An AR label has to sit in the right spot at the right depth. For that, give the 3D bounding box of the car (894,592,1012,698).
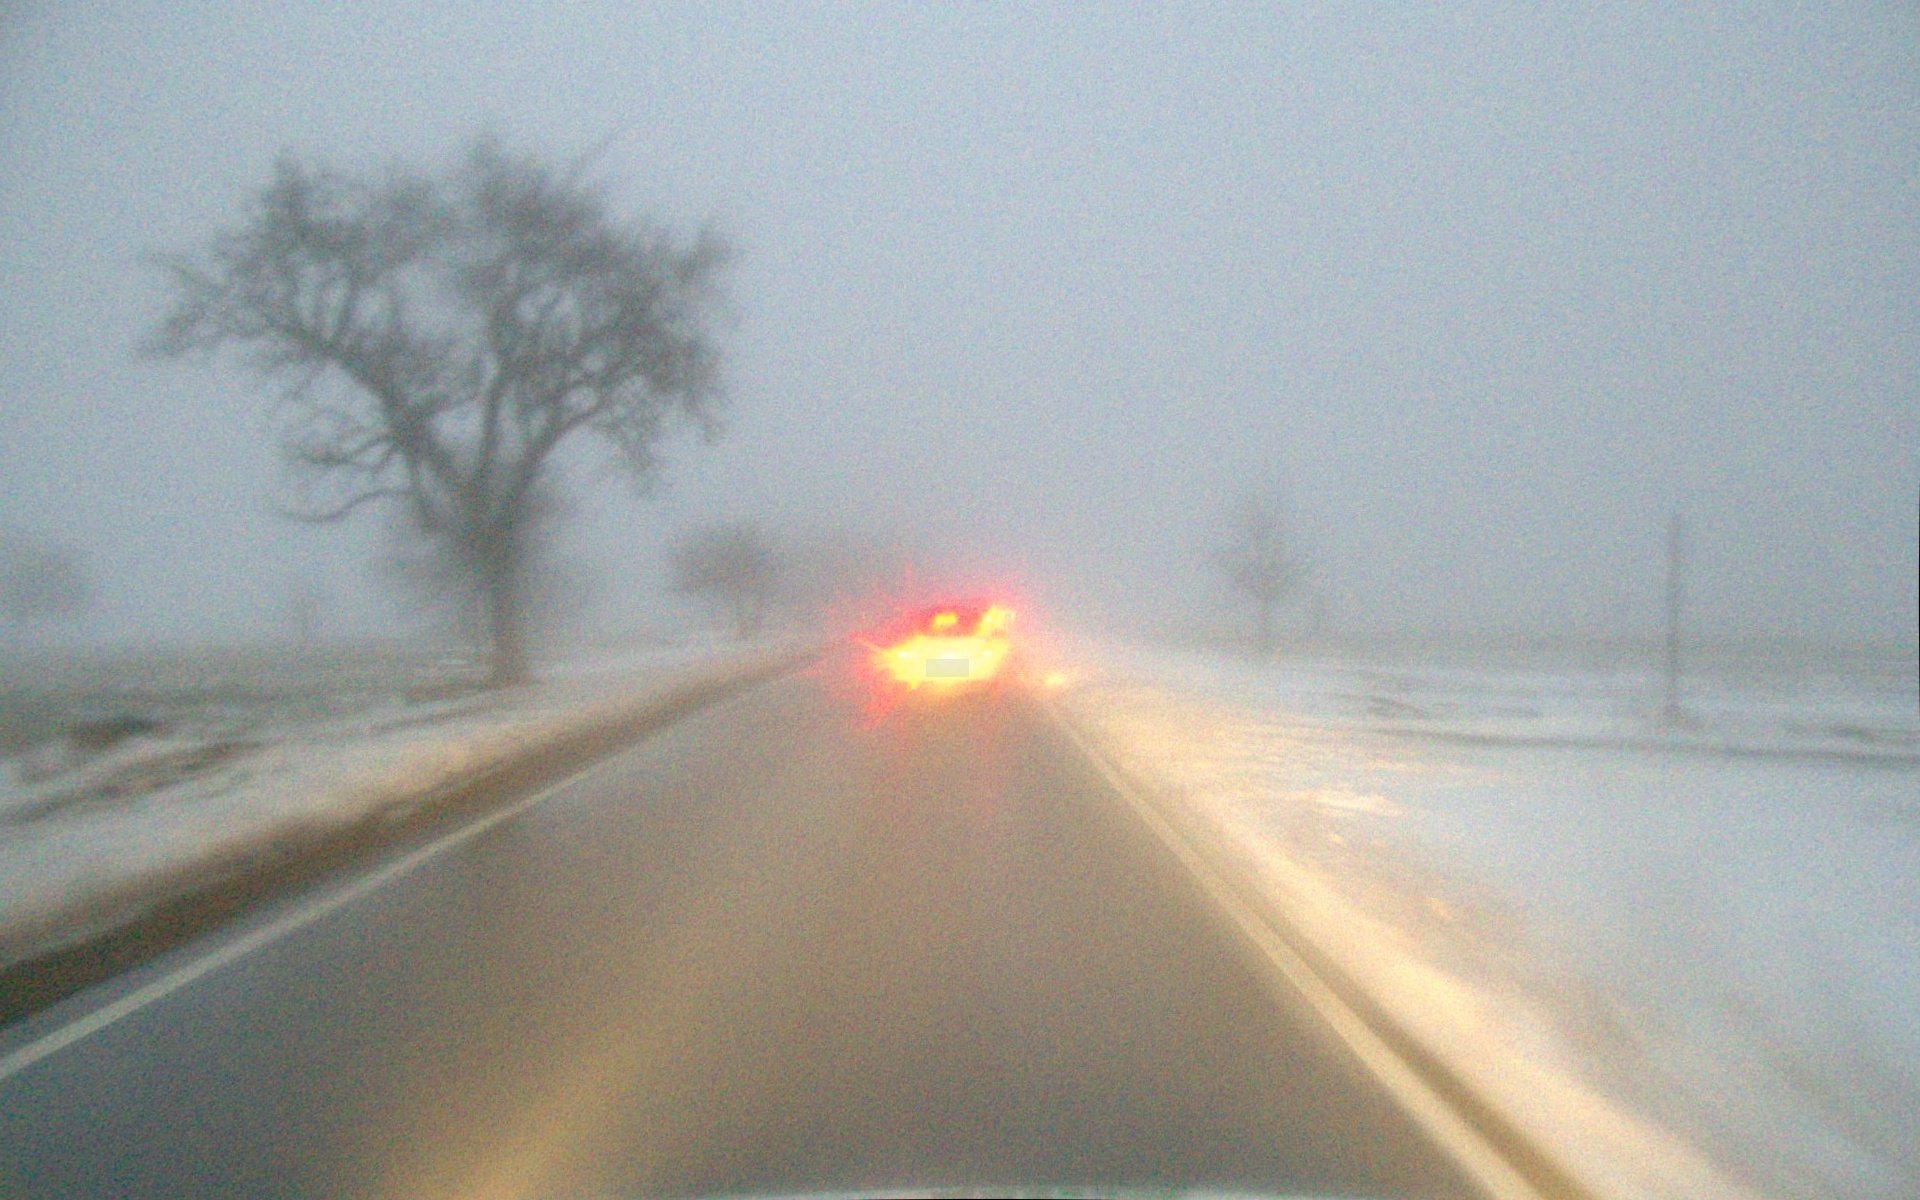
[{"bbox_3d":[-0.181,0.676,26.089,1.673,1.489,3.998,2,-1,-3],"label":"car"}]
